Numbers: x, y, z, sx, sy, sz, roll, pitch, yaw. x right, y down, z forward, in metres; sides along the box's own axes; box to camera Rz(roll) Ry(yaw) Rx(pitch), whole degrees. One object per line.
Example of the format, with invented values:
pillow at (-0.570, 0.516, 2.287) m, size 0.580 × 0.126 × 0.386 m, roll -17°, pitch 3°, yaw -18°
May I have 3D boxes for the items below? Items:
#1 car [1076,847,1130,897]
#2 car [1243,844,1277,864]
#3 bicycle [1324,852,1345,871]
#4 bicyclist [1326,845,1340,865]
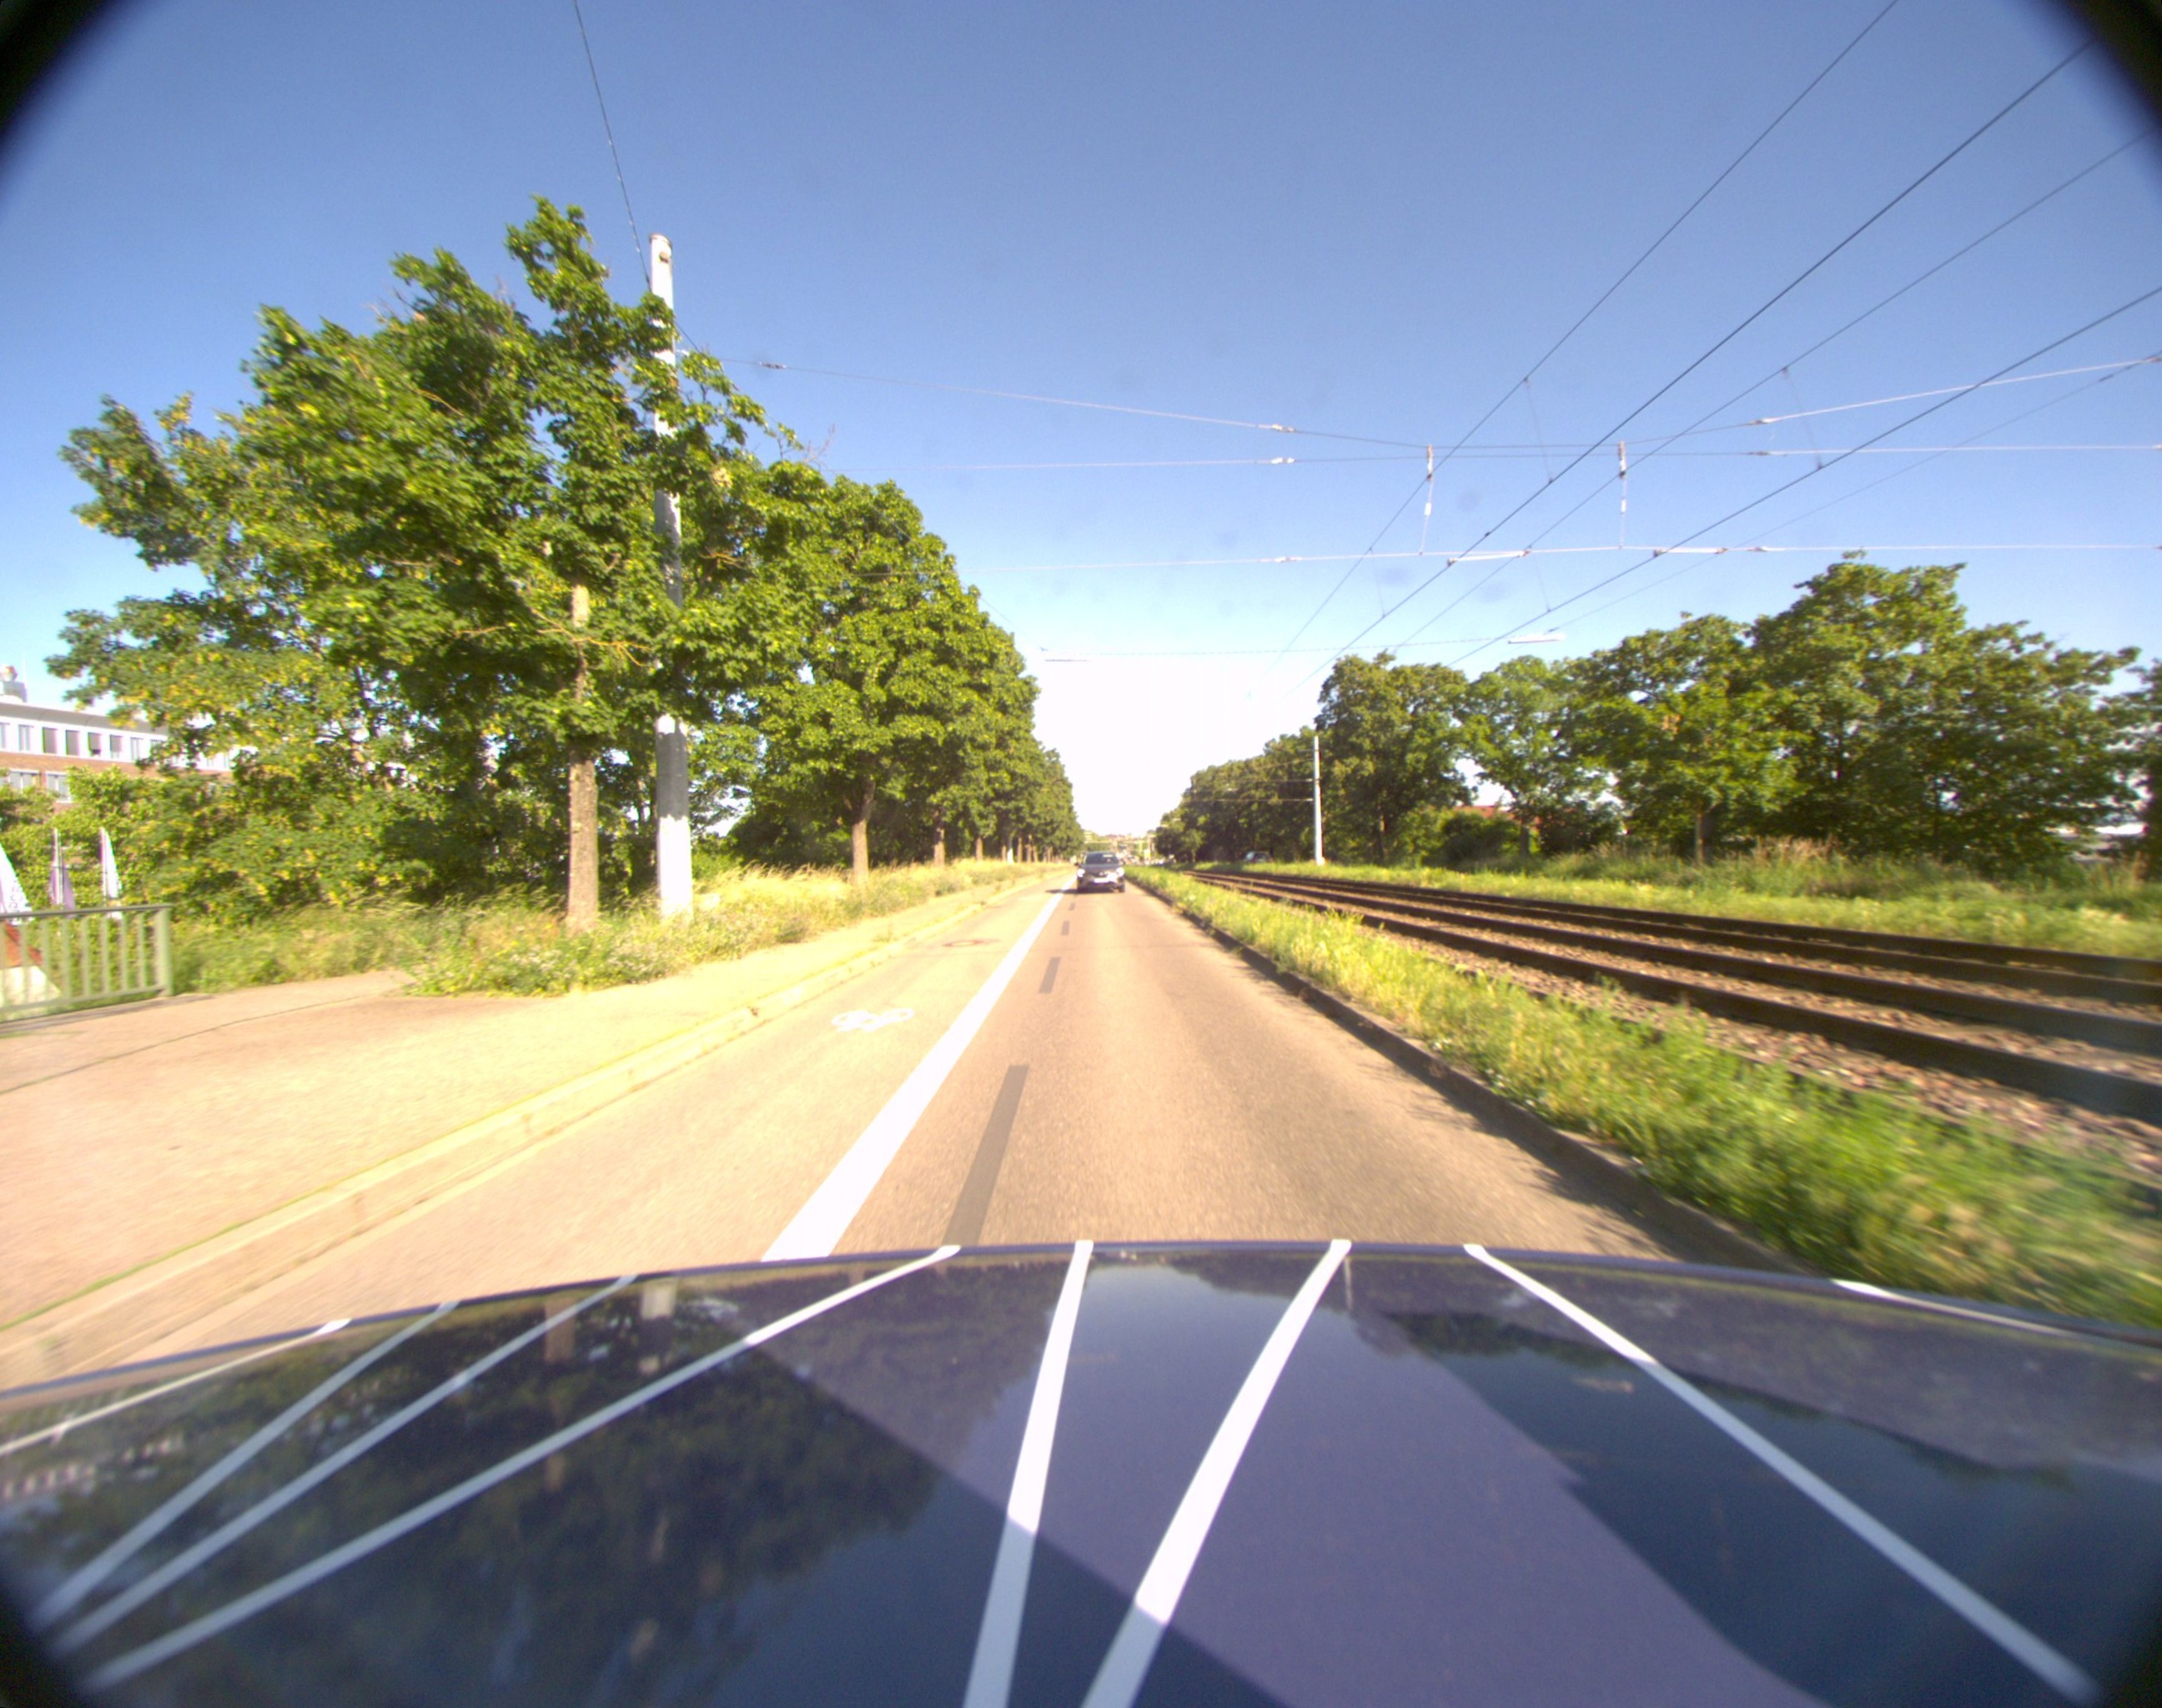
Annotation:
car at (0.822, 0.610, 28.614) m, size 1.814 × 1.625 × 4.710 m, roll -3°, pitch 0°, yaw 1°
car at (14.456, 0.029, 61.457) m, size 1.814 × 1.480 × 4.407 m, roll -3°, pitch 0°, yaw 2°
bicycle at (16.890, 0.499, 50.745) m, size 0.591 × 1.254 × 2.427 m, roll -3°, pitch 0°, yaw 2°
bicyclist at (16.858, 0.074, 50.795) m, size 0.584 × 1.302 × 0.987 m, roll -3°, pitch 0°, yaw 1°
